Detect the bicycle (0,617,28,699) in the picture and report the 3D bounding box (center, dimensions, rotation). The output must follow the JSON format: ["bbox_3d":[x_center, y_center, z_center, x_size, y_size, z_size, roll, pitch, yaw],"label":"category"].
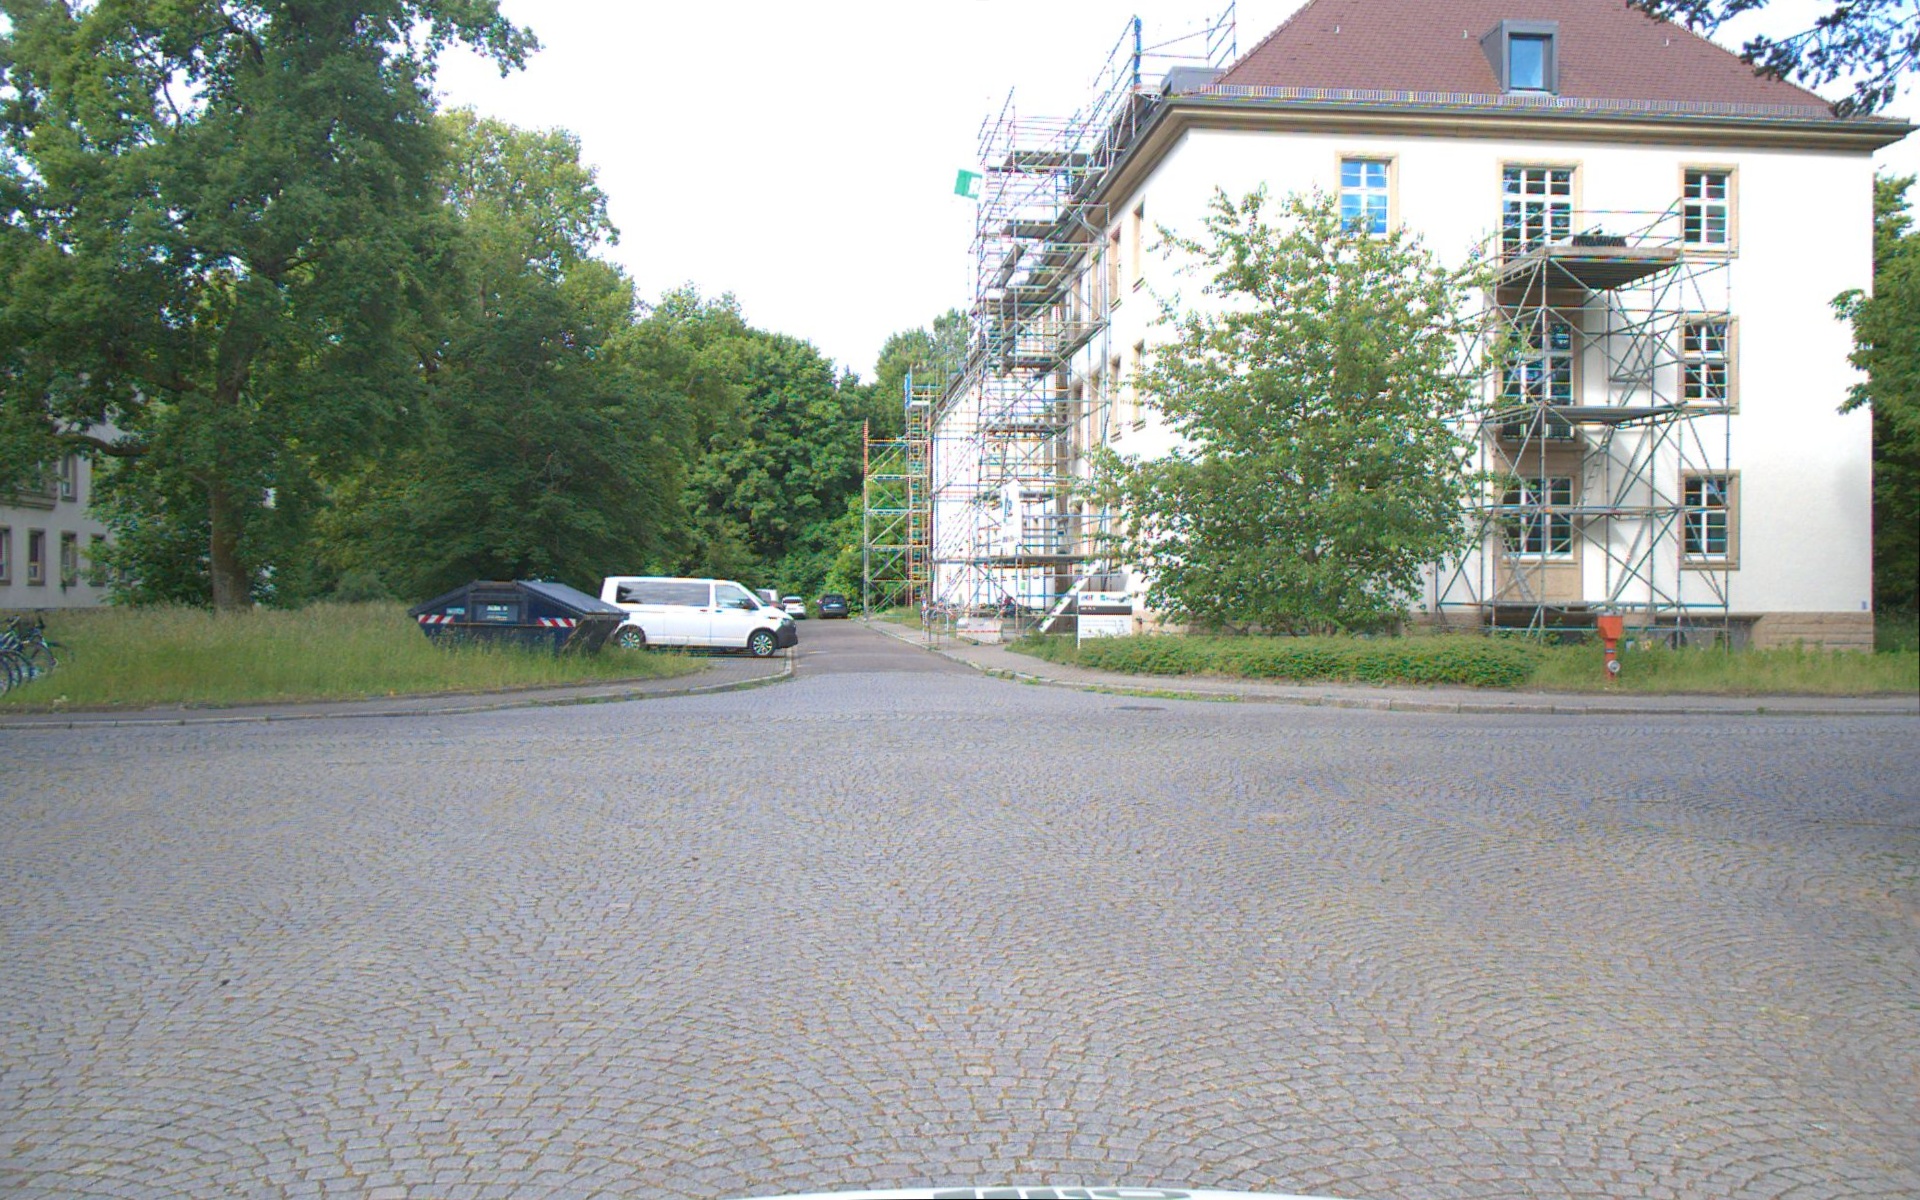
[{"bbox_3d":[-14.422,0.853,23.711,1.771,1.122,0.697,-2,3,-25],"label":"bicycle"}]

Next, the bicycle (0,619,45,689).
[{"bbox_3d":[-15.041,0.841,25.121,1.929,1.022,0.681,-2,3,-25],"label":"bicycle"}]

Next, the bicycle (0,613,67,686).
[{"bbox_3d":[-15.612,0.812,27.014,1.749,1.124,0.537,-2,3,-25],"label":"bicycle"}]

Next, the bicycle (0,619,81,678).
[{"bbox_3d":[-16.133,0.838,28.582,1.596,0.926,0.523,-2,3,-25],"label":"bicycle"}]

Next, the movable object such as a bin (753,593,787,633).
[{"bbox_3d":[-7.050,0.471,61.382,1.161,1.432,0.974,2,-1,-5],"label":"movable object such as a bin"}]

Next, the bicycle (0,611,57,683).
[{"bbox_3d":[-15.977,0.790,27.452,1.675,1.135,0.537,-2,3,-25],"label":"bicycle"}]

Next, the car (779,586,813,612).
[{"bbox_3d":[-10.812,-0.042,108.728,1.964,1.575,3.950,3,-1,-9],"label":"car"}]

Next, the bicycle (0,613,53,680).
[{"bbox_3d":[-16.274,0.800,27.940,1.596,1.077,0.522,-2,3,-25],"label":"bicycle"}]

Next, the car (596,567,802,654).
[{"bbox_3d":[-6.706,0.278,42.877,5.102,2.096,2.185,1,-1,-7],"label":"car"}]

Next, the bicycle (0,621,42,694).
[{"bbox_3d":[-14.569,0.870,24.443,1.670,1.019,0.627,-2,3,-25],"label":"bicycle"}]

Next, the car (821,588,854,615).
[{"bbox_3d":[-8.079,0.125,109.310,2.022,1.621,3.997,2,-1,-3],"label":"car"}]

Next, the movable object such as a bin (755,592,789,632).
[{"bbox_3d":[-7.088,0.455,62.418,1.161,1.432,0.974,2,-1,-5],"label":"movable object such as a bin"}]

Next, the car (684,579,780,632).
[{"bbox_3d":[-9.664,0.238,70.021,3.915,2.049,1.917,3,-1,-10],"label":"car"}]
